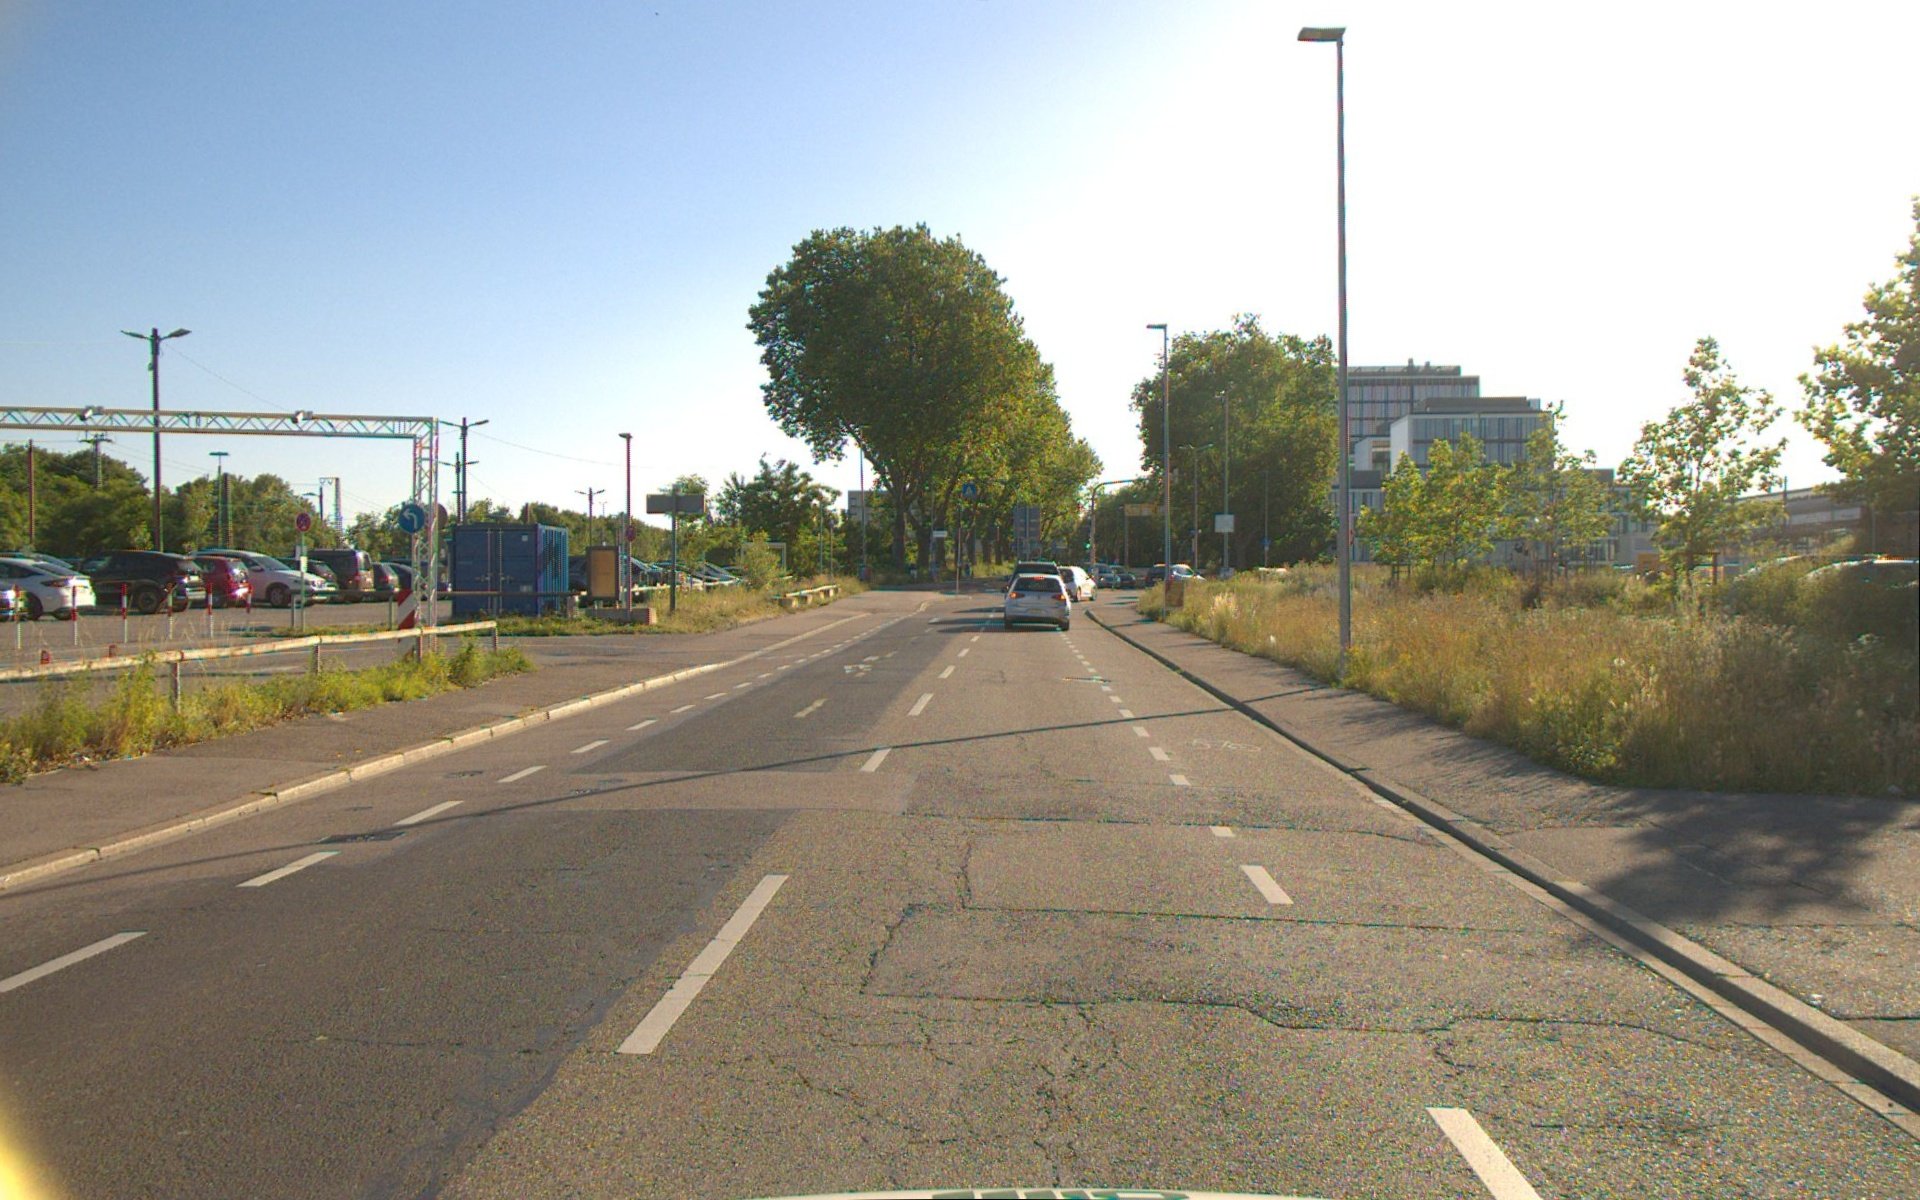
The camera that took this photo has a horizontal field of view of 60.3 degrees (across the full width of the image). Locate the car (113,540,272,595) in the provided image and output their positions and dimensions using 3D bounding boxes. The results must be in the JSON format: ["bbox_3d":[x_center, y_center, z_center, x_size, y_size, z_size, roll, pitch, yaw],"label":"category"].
[{"bbox_3d":[-22.620,-0.977,48.861,3.802,1.546,1.879,1,2,1],"label":"car"}]

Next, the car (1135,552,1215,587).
[{"bbox_3d":[10.625,-1.511,81.461,2.130,1.713,3.980,1,2,39],"label":"car"}]

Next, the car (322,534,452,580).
[{"bbox_3d":[-21.703,-1.645,62.741,4.232,1.646,1.879,1,2,1],"label":"car"}]

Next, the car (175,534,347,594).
[{"bbox_3d":[-21.845,-1.150,51.783,4.483,1.771,2.060,1,2,6],"label":"car"}]

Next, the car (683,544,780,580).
[{"bbox_3d":[-10.933,-1.830,79.240,4.334,1.584,1.879,1,2,1],"label":"car"}]

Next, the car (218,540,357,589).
[{"bbox_3d":[-22.275,-1.183,54.867,3.802,1.546,1.879,1,2,1],"label":"car"}]

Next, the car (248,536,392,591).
[{"bbox_3d":[-22.205,-1.270,57.500,4.232,1.822,1.879,1,2,1],"label":"car"}]

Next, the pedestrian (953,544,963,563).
[{"bbox_3d":[-0.154,-3.576,128.128,0.664,1.439,0.685,0,1,3],"label":"pedestrian"}]

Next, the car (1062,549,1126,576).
[{"bbox_3d":[8.443,-2.348,104.215,1.977,1.623,3.952,0,2,-35],"label":"car"}]

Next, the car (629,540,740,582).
[{"bbox_3d":[-10.811,-1.545,65.125,4.003,1.584,1.879,1,2,1],"label":"car"}]

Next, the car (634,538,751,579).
[{"bbox_3d":[-10.958,-1.711,67.936,4.448,1.584,1.879,1,2,1],"label":"car"}]

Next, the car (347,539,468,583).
[{"bbox_3d":[-21.796,-1.546,65.361,4.120,1.646,1.879,1,2,1],"label":"car"}]

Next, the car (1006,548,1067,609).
[{"bbox_3d":[2.390,-0.720,51.811,1.781,1.799,4.631,1,2,2],"label":"car"}]

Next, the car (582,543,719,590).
[{"bbox_3d":[-11.142,-1.229,59.719,4.499,1.584,2.001,1,2,1],"label":"car"}]

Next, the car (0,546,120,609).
[{"bbox_3d":[-22.462,-0.563,39.118,4.232,1.400,1.879,1,2,1],"label":"car"}]

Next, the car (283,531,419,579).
[{"bbox_3d":[-22.131,-1.628,60.225,4.232,1.646,1.879,1,2,1],"label":"car"}]

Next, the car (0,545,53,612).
[{"bbox_3d":[-22.480,-0.509,36.198,4.232,1.400,1.879,1,2,1],"label":"car"}]

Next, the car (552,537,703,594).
[{"bbox_3d":[-11.366,-1.197,56.746,4.745,1.866,2.001,1,2,1],"label":"car"}]

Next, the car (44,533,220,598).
[{"bbox_3d":[-22.248,-0.936,44.533,3.802,1.631,1.879,1,2,1],"label":"car"}]

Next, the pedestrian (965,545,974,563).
[{"bbox_3d":[0.723,-3.559,127.996,0.664,1.439,0.685,0,1,3],"label":"pedestrian"}]

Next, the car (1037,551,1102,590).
[{"bbox_3d":[4.785,-1.291,71.819,1.859,1.623,4.002,1,2,18],"label":"car"}]

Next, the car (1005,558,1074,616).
[{"bbox_3d":[2.129,-0.385,44.617,1.752,1.444,4.002,1,2,3],"label":"car"}]
